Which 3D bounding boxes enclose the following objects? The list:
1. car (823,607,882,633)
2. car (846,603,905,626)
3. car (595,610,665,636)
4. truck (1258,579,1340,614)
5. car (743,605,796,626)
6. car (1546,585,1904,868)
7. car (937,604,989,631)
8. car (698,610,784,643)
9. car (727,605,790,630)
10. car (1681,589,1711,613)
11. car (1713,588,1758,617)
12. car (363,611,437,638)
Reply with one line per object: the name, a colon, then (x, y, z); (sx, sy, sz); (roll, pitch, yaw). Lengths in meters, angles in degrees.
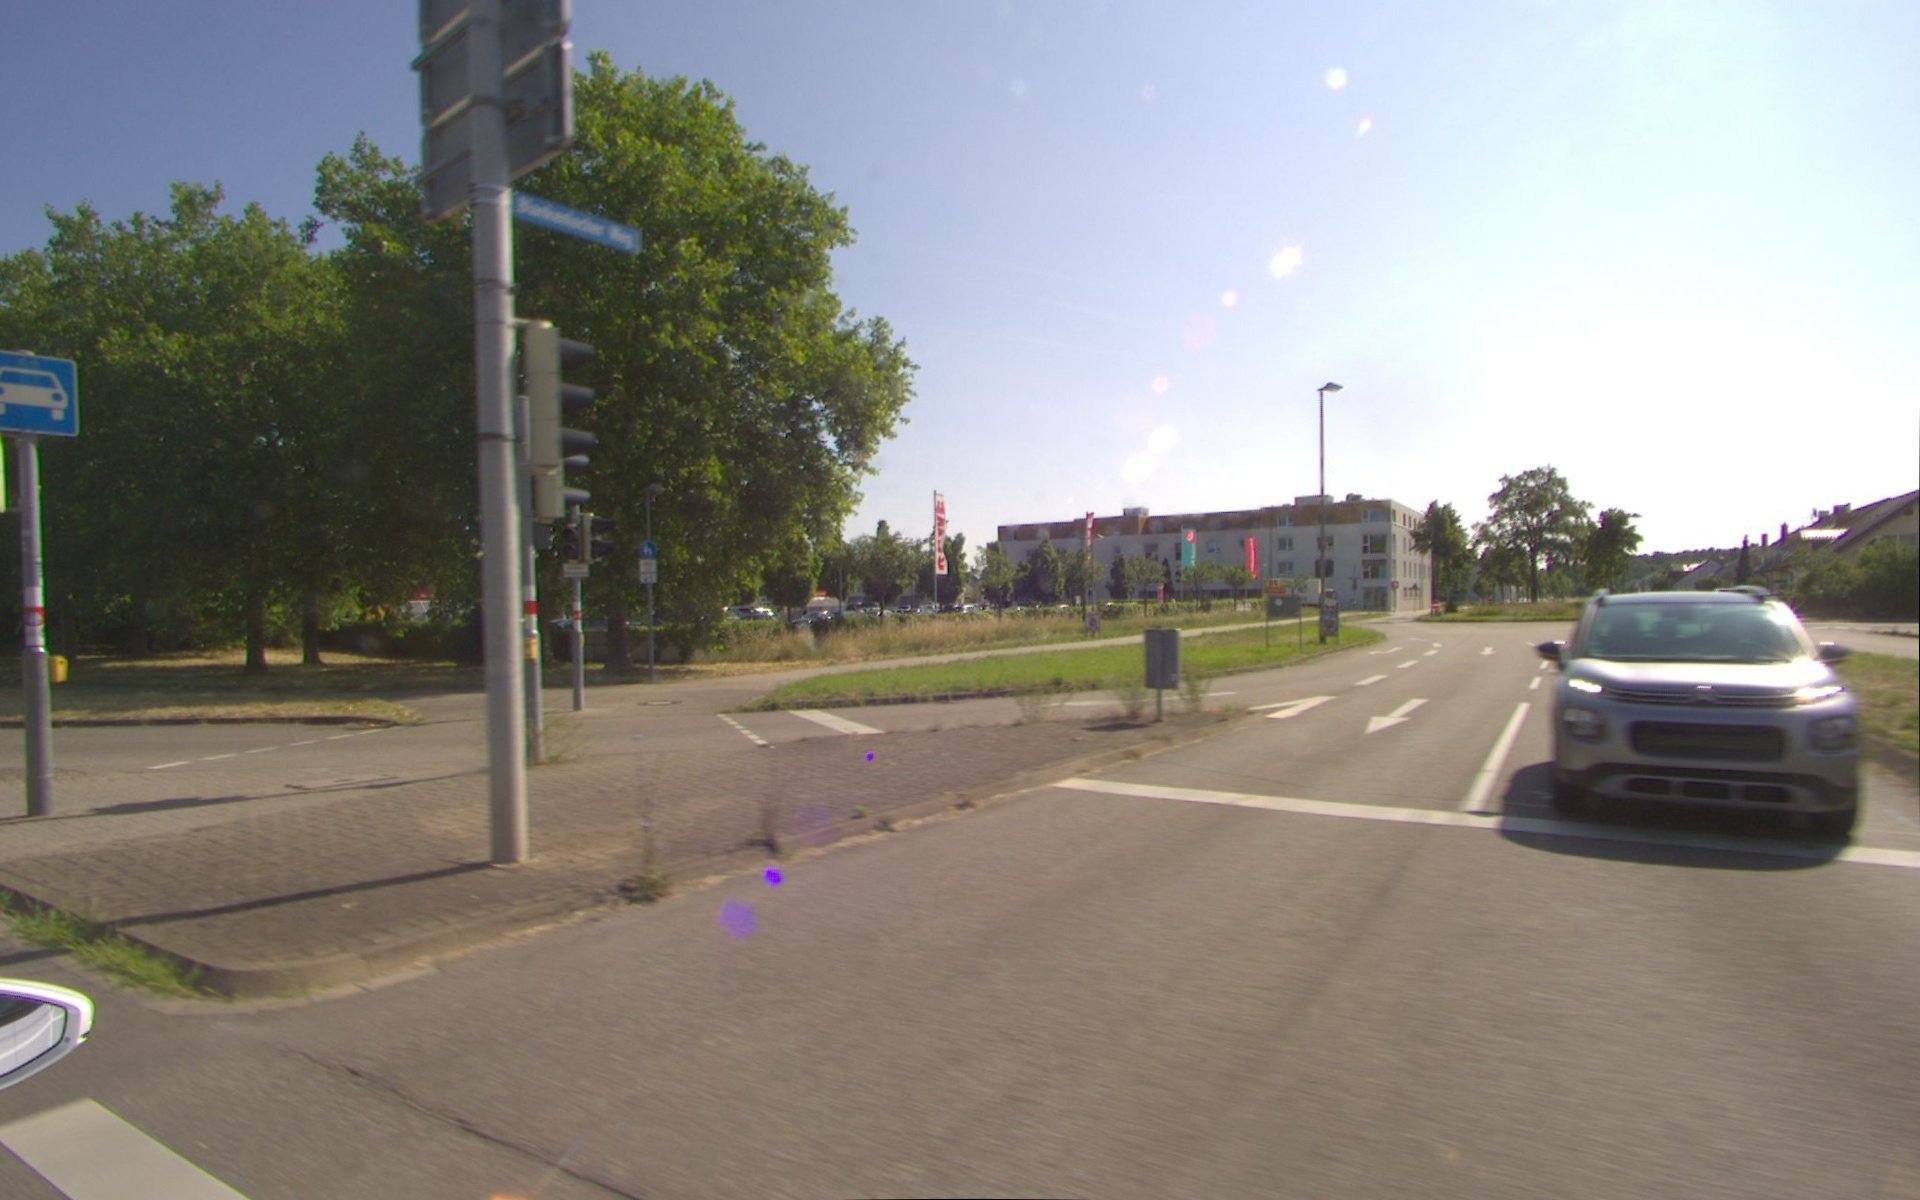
car: (-7.705, 1.408, 71.778); (1.976, 1.751, 3.969); (-1, 0, 40)
car: (-6.938, 1.200, 82.594); (4.450, 1.773, 1.974); (-1, 0, -36)
car: (-23.895, 1.615, 72.599); (1.962, 1.773, 4.477); (-1, 0, 37)
truck: (36.956, -0.351, 109.180); (8.131, 3.592, 2.621); (-1, 0, 30)
car: (-17.202, 1.373, 90.577); (1.966, 1.773, 4.467); (-1, 0, 43)
car: (5.602, 0.720, 7.789); (1.718, 1.584, 4.044); (-1, 0, 31)
car: (0.285, 1.359, 78.054); (1.977, 1.951, 3.968); (-1, 0, 40)
car: (-12.658, 1.522, 57.920); (4.420, 1.773, 1.987); (-1, 0, 6)
car: (-15.162, 1.280, 75.493); (1.962, 1.773, 4.477); (-1, 0, 37)
car: (63.663, 0.100, 86.700); (1.974, 1.950, 3.976); (-1, -2, 35)
car: (49.685, 0.158, 64.118); (1.979, 1.813, 3.964); (-1, 0, 43)
car: (-37.721, 1.664, 67.495); (1.980, 1.705, 3.964); (-2, -2, 44)
